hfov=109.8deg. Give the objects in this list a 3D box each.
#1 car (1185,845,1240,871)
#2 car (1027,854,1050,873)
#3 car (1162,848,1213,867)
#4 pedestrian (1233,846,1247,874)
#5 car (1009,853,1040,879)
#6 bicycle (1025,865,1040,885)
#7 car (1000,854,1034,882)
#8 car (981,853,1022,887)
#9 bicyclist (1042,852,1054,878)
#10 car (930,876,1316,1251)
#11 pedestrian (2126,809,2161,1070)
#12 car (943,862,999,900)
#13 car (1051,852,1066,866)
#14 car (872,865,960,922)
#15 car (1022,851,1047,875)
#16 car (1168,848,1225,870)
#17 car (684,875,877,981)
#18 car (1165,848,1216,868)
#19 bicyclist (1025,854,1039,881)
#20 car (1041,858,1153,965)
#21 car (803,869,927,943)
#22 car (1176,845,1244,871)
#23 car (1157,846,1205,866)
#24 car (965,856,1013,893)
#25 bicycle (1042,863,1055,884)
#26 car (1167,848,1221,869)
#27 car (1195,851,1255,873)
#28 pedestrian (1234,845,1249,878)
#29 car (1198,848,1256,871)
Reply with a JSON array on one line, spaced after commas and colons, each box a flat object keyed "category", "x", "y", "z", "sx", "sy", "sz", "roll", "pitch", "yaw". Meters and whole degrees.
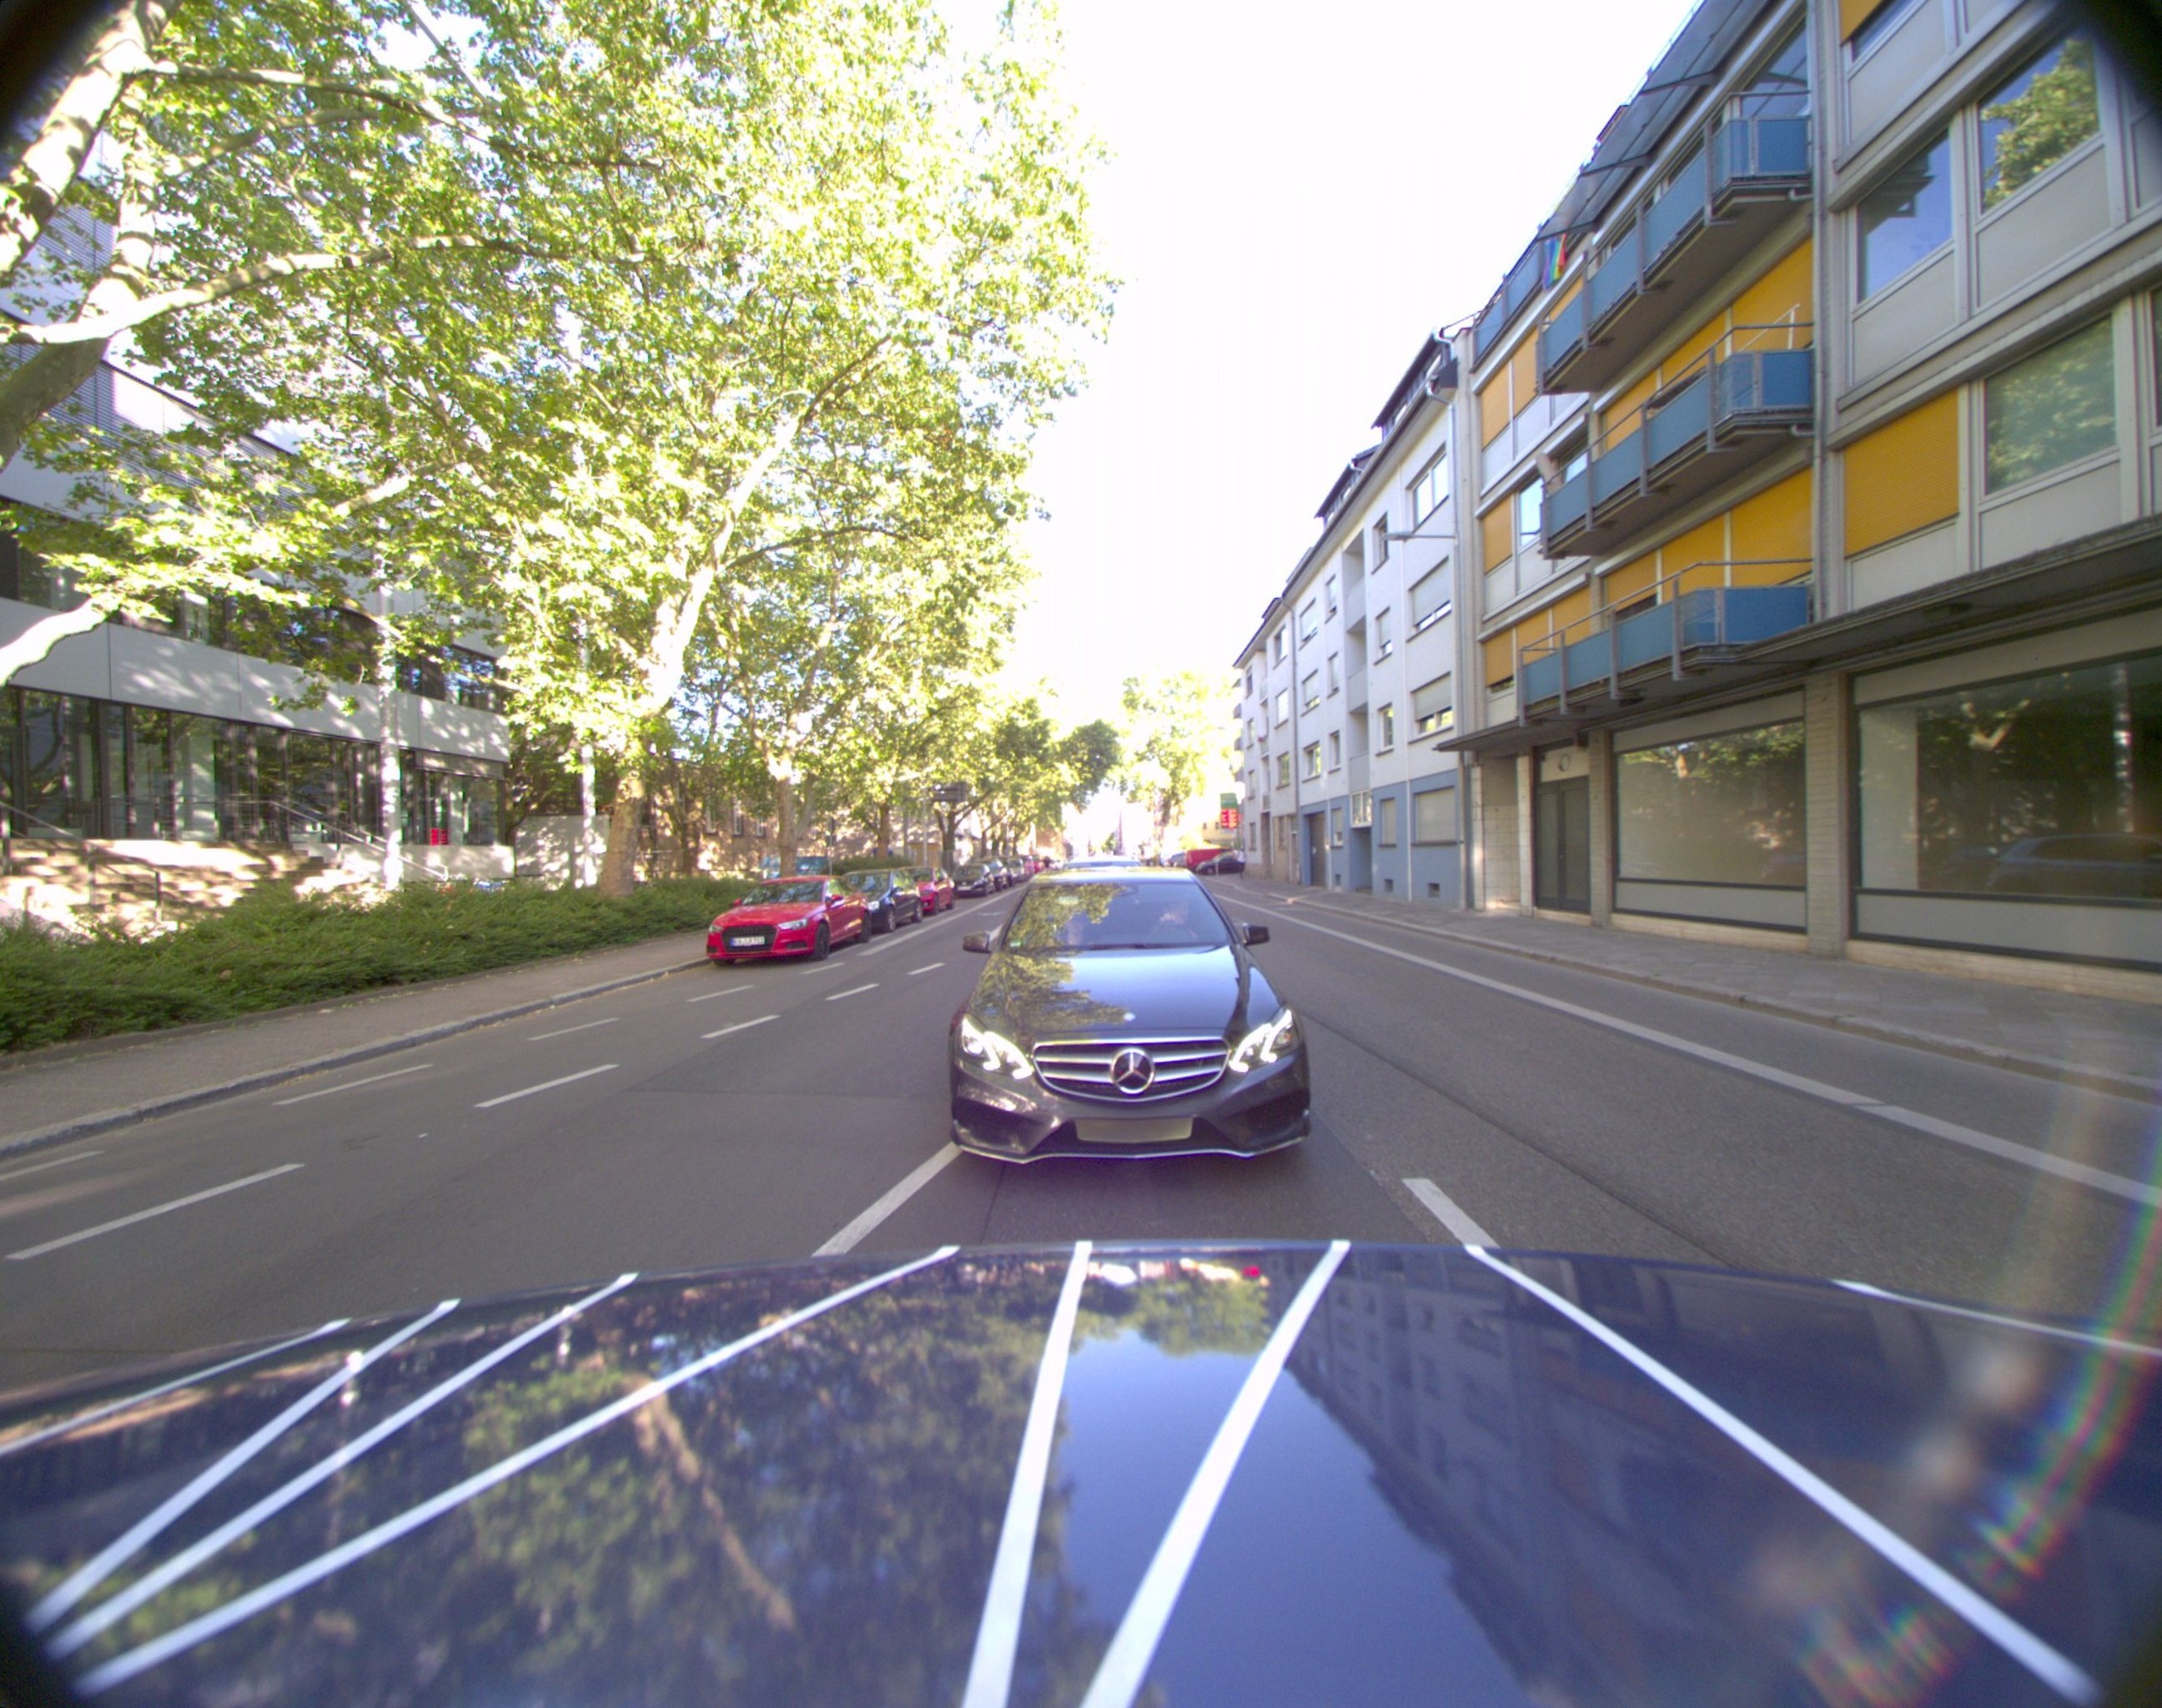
[{"category": "car", "x": 10.334, "y": 0.306, "z": 60.080, "sx": 3.997, "sy": 1.926, "sz": 1.867, "roll": -2, "pitch": 0, "yaw": 1}, {"category": "car", "x": -4.000, "y": 0.909, "z": 72.174, "sx": 1.755, "sy": 1.652, "sz": 4.447, "roll": -3, "pitch": 0, "yaw": 1}, {"category": "car", "x": 11.325, "y": 0.354, "z": 81.184, "sx": 5.042, "sy": 1.926, "sz": 2.315, "roll": -2, "pitch": 0, "yaw": 1}, {"category": "pedestrian", "x": 9.463, "y": 0.335, "z": 45.217, "sx": 0.604, "sy": 1.632, "sz": 0.842, "roll": -2, "pitch": 1, "yaw": 1}, {"category": "car", "x": -4.100, "y": 0.828, "z": 55.755, "sx": 1.755, "sy": 1.753, "sz": 4.447, "roll": -3, "pitch": 0, "yaw": 1}, {"category": "bicycle", "x": -2.670, "y": 1.138, "z": 41.755, "sx": 0.650, "sy": 1.053, "sz": 1.595, "roll": -2, "pitch": 0, "yaw": 1}, {"category": "car", "x": -4.270, "y": 0.886, "z": 50.944, "sx": 1.755, "sy": 1.718, "sz": 4.447, "roll": -3, "pitch": 0, "yaw": 1}, {"category": "car", "x": -4.551, "y": 0.876, "z": 44.061, "sx": 1.755, "sy": 1.810, "sz": 4.447, "roll": -3, "pitch": 0, "yaw": 1}, {"category": "bicyclist", "x": -1.801, "y": 0.584, "z": 41.398, "sx": 0.581, "sy": 1.424, "sz": 0.741, "roll": -2, "pitch": 1, "yaw": 1}, {"category": "car", "x": 0.214, "y": 0.988, "z": 5.356, "sx": 1.667, "sy": 1.499, "sz": 4.000, "roll": -1, "pitch": 0, "yaw": 1}, {"category": "pedestrian", "x": 7.587, "y": 0.569, "z": 4.866, "sx": 0.663, "sy": 1.761, "sz": 0.793, "roll": -2, "pitch": 1, "yaw": 1}, {"category": "car", "x": -4.748, "y": 1.123, "z": 33.293, "sx": 1.755, "sy": 1.424, "sz": 3.909, "roll": -3, "pitch": 0, "yaw": 1}, {"category": "car", "x": -3.012, "y": 0.657, "z": 103.202, "sx": 1.755, "sy": 1.652, "sz": 4.447, "roll": -3, "pitch": 0, "yaw": 1}, {"category": "car", "x": -5.032, "y": 1.151, "z": 23.655, "sx": 1.755, "sy": 1.459, "sz": 3.909, "roll": -3, "pitch": 0, "yaw": 1}, {"category": "car", "x": -3.994, "y": 0.735, "z": 66.388, "sx": 1.755, "sy": 1.941, "sz": 4.447, "roll": -3, "pitch": 0, "yaw": 1}, {"category": "car", "x": 11.102, "y": 0.450, "z": 73.520, "sx": 5.143, "sy": 1.926, "sz": 2.187, "roll": -2, "pitch": 0, "yaw": 1}, {"category": "car", "x": -5.123, "y": 1.187, "z": 13.596, "sx": 1.755, "sy": 1.400, "sz": 4.000, "roll": -3, "pitch": 0, "yaw": 1}, {"category": "car", "x": 11.289, "y": 0.379, "z": 78.718, "sx": 4.991, "sy": 1.926, "sz": 2.083, "roll": -2, "pitch": 0, "yaw": 1}, {"category": "bicyclist", "x": -2.675, "y": 0.725, "z": 41.741, "sx": 0.650, "sy": 1.427, "sz": 0.741, "roll": -2, "pitch": 1, "yaw": 1}, {"category": "car", "x": 0.273, "y": 0.891, "z": 13.608, "sx": 1.667, "sy": 1.563, "sz": 4.000, "roll": -1, "pitch": 0, "yaw": 1}, {"category": "car", "x": -5.083, "y": 1.178, "z": 18.442, "sx": 1.755, "sy": 1.424, "sz": 3.909, "roll": -3, "pitch": 0, "yaw": 1}, {"category": "car", "x": 10.639, "y": 0.300, "z": 63.104, "sx": 5.223, "sy": 1.969, "sz": 2.257, "roll": -2, "pitch": 0, "yaw": 1}, {"category": "car", "x": 11.192, "y": 0.208, "z": 85.520, "sx": 5.143, "sy": 2.135, "sz": 2.187, "roll": -2, "pitch": 0, "yaw": 1}, {"category": "car", "x": -4.561, "y": 0.981, "z": 38.263, "sx": 1.755, "sy": 1.644, "sz": 4.174, "roll": -3, "pitch": 0, "yaw": 1}, {"category": "bicycle", "x": -1.776, "y": 1.058, "z": 41.490, "sx": 0.574, "sy": 1.053, "sz": 1.595, "roll": -2, "pitch": 0, "yaw": 1}, {"category": "car", "x": 11.275, "y": 0.411, "z": 76.220, "sx": 5.054, "sy": 1.926, "sz": 2.161, "roll": -2, "pitch": 0, "yaw": 1}, {"category": "car", "x": 10.359, "y": 0.568, "z": 54.780, "sx": 3.997, "sy": 1.412, "sz": 1.743, "roll": -2, "pitch": 0, "yaw": 1}, {"category": "pedestrian", "x": 8.658, "y": 0.375, "z": 41.006, "sx": 0.608, "sy": 1.737, "sz": 0.756, "roll": -2, "pitch": 1, "yaw": 1}, {"category": "car", "x": 10.915, "y": 0.397, "z": 56.990, "sx": 3.997, "sy": 1.552, "sz": 1.743, "roll": -2, "pitch": 0, "yaw": 1}]
